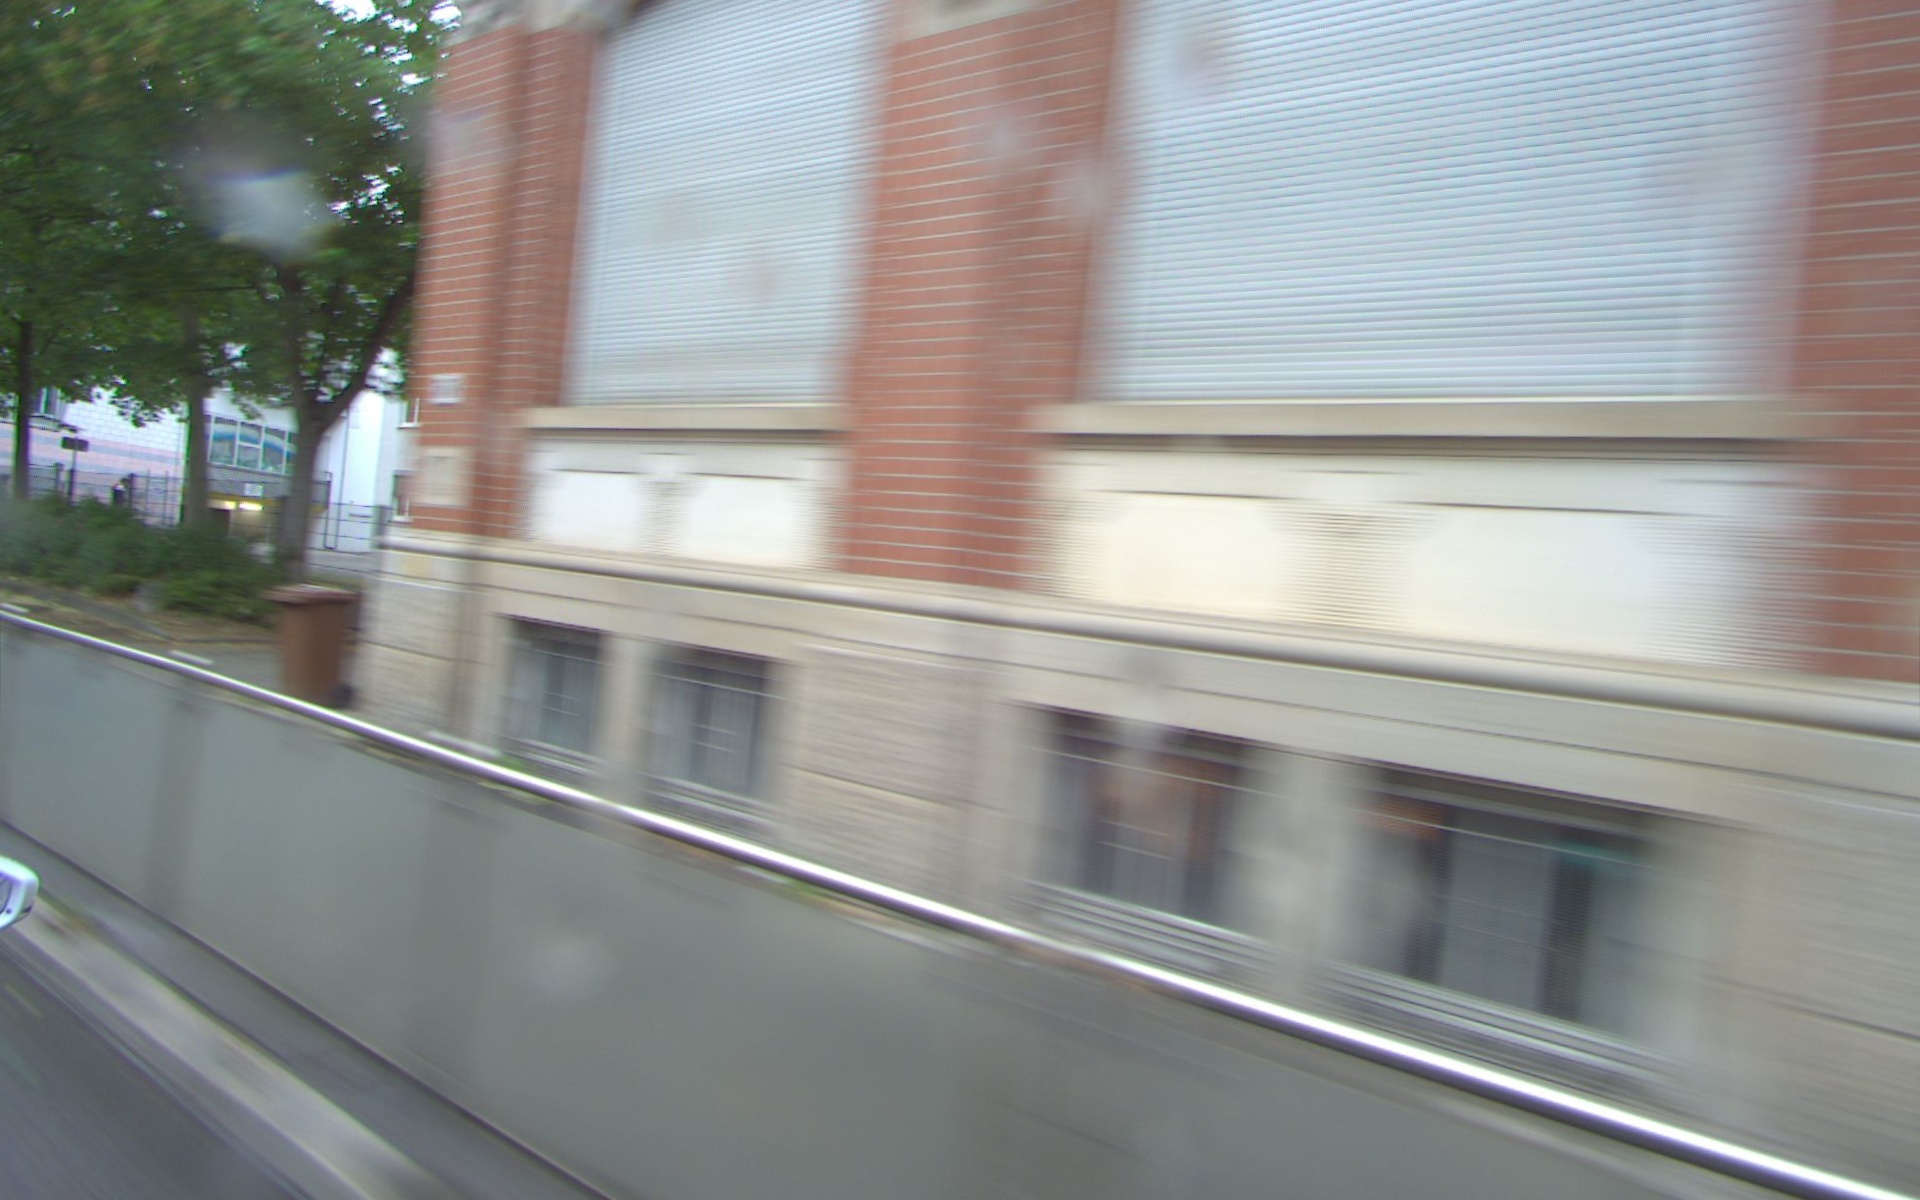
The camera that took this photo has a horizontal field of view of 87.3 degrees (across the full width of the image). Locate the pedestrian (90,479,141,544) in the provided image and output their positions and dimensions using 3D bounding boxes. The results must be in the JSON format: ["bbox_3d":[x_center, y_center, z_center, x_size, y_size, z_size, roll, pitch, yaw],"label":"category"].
[{"bbox_3d":[-26.417,-2.763,31.470,0.944,1.850,0.830,7,0,35],"label":"pedestrian"}]

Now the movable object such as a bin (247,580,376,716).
[{"bbox_3d":[-4.985,0.360,7.743,0.563,0.945,0.591,7,2,31],"label":"movable object such as a bin"}]
